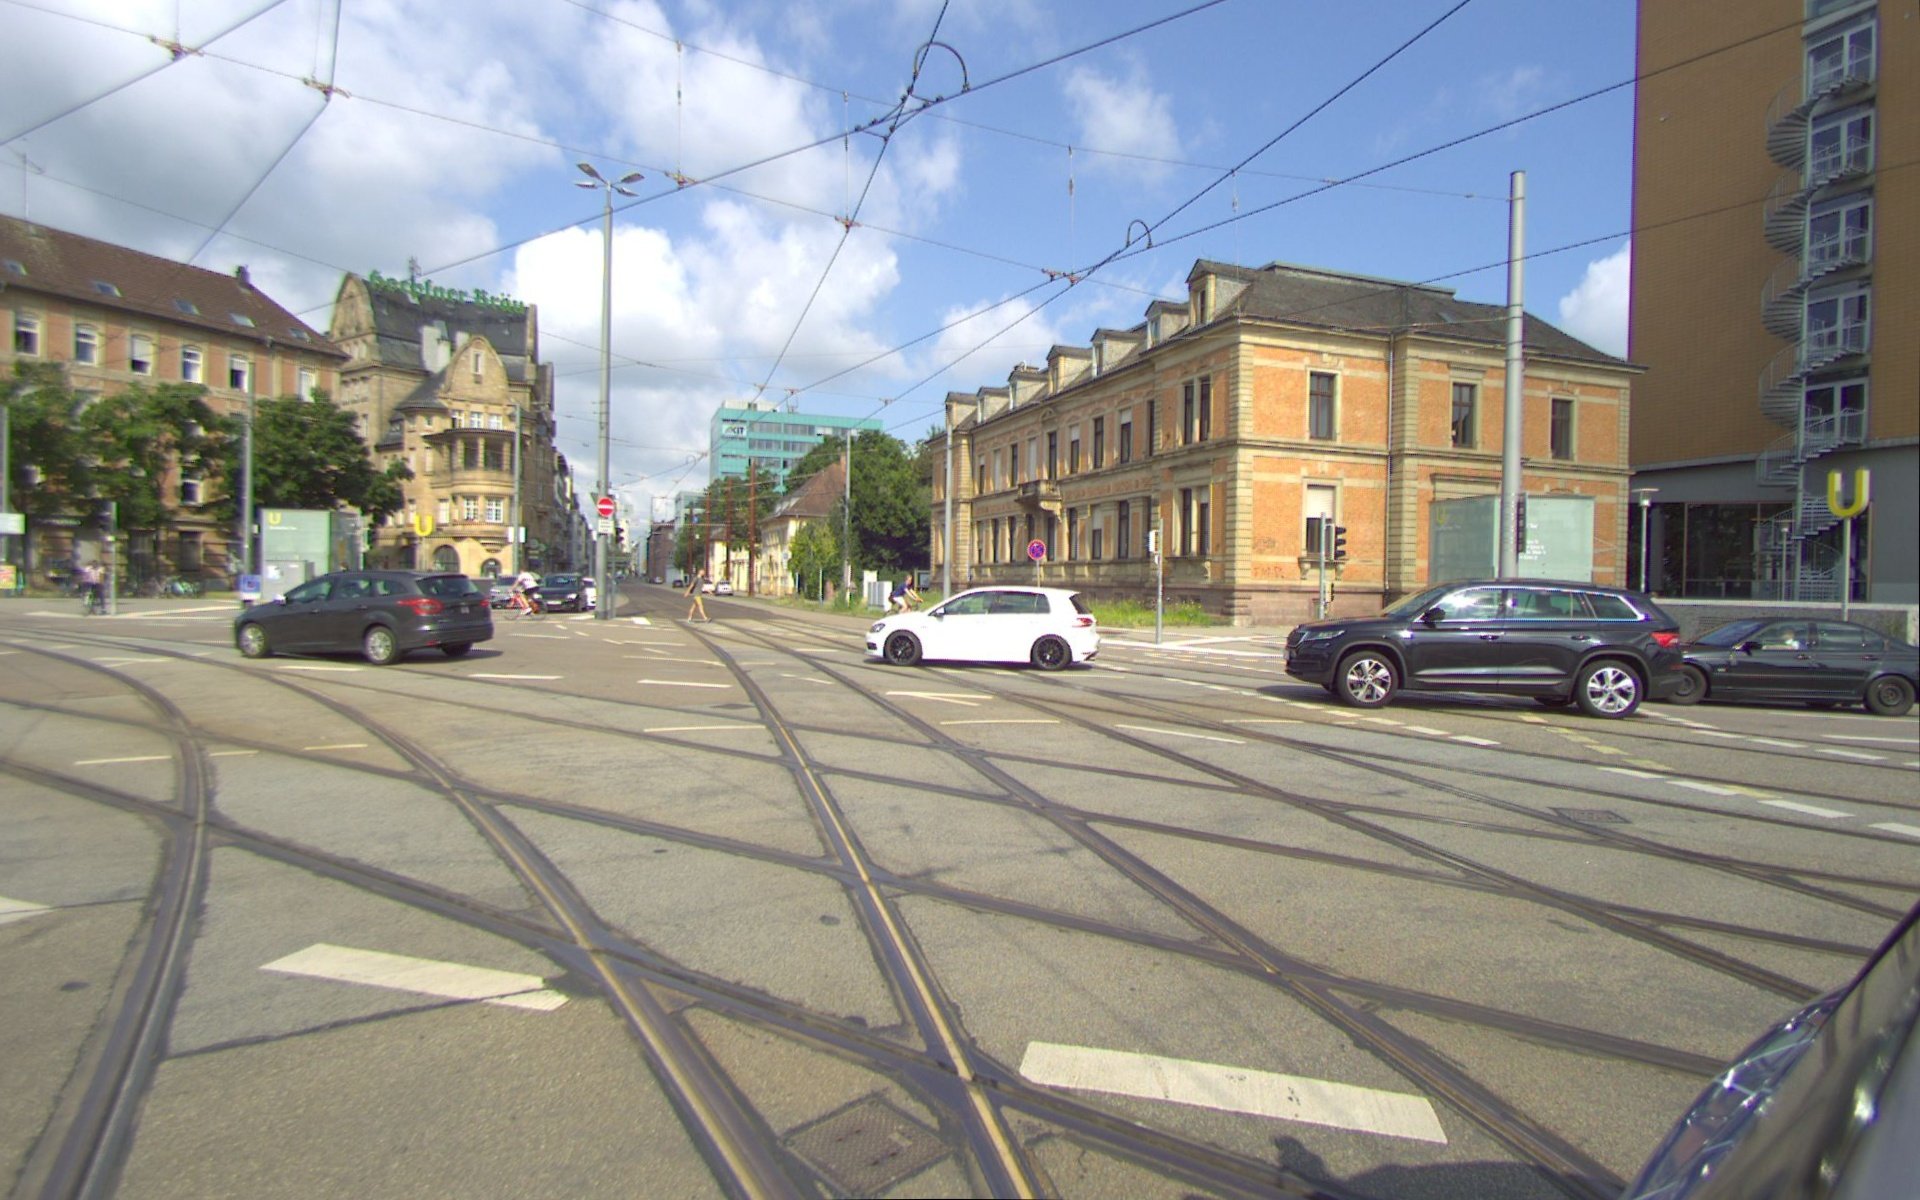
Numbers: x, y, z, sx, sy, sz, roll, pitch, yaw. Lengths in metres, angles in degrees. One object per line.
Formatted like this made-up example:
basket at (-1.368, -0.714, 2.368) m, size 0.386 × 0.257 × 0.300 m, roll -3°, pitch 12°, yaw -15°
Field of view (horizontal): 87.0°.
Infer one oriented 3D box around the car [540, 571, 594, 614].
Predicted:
car at (-18.232, -0.405, 47.073) m, size 1.958 × 1.614 × 4.699 m, roll -1°, pitch 5°, yaw -17°

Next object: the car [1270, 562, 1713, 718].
car at (6.548, 0.439, 13.051) m, size 4.609 × 1.689 × 1.994 m, roll 2°, pitch 0°, yaw 11°

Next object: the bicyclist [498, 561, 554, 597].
bicyclist at (-13.389, -0.641, 31.240) m, size 1.195 × 1.040 × 0.991 m, roll -2°, pitch 1°, yaw 9°

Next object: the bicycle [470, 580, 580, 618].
bicycle at (-13.423, -0.027, 31.258) m, size 3.058 × 1.040 × 0.993 m, roll -2°, pitch 1°, yaw 10°

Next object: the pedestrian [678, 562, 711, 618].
pedestrian at (-8.844, -0.330, 33.695) m, size 0.870 × 1.832 × 0.868 m, roll 0°, pitch 2°, yaw -2°

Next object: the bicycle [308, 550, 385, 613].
bicycle at (-17.881, -0.567, 29.490) m, size 2.453 × 1.746 × 0.996 m, roll 1°, pitch 3°, yaw 35°

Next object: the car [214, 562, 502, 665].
car at (-10.002, 0.156, 16.886) m, size 4.196 × 1.547 × 1.764 m, roll 1°, pitch 2°, yaw 16°

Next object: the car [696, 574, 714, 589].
car at (-31.719, -2.285, 125.782) m, size 1.875 × 1.791 × 4.009 m, roll 1°, pitch 1°, yaw -19°

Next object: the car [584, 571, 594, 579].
car at (-76.235, -5.222, 208.207) m, size 1.812 × 1.557 × 3.831 m, roll 1°, pitch 1°, yaw -19°

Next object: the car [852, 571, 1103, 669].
car at (0.366, 0.304, 17.787) m, size 4.165 × 1.464 × 1.679 m, roll 2°, pitch 1°, yaw 11°

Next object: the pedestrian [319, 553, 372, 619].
pedestrian at (-17.905, -0.433, 29.496) m, size 0.989 × 1.864 × 0.984 m, roll 1°, pitch 2°, yaw 33°

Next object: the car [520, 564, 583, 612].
car at (-16.363, -0.531, 40.733) m, size 1.958 × 1.760 × 4.352 m, roll -1°, pitch 2°, yaw -17°

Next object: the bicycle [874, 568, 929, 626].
bicycle at (-1.829, -0.099, 31.727) m, size 1.609 × 1.799 × 0.731 m, roll 0°, pitch 2°, yaw 7°

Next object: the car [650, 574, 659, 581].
car at (-74.061, -5.492, 245.290) m, size 1.875 × 1.625 × 4.009 m, roll 1°, pitch 1°, yaw -19°

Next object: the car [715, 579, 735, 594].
car at (-25.180, -1.433, 108.435) m, size 1.719 × 1.549 × 4.009 m, roll 1°, pitch 1°, yaw -17°

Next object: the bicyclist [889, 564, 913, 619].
bicyclist at (-1.848, -0.279, 31.711) m, size 0.645 × 1.691 × 0.573 m, roll 0°, pitch 2°, yaw 7°

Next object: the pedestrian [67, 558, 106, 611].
pedestrian at (-27.405, -0.487, 31.758) m, size 0.694 × 1.662 × 0.798 m, roll 1°, pitch 1°, yaw -20°

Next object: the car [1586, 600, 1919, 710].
car at (12.378, 0.785, 15.350) m, size 4.439 × 1.415 × 1.993 m, roll 2°, pitch 1°, yaw 12°

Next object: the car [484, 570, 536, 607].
car at (-21.619, -0.591, 48.733) m, size 1.718 × 1.620 × 4.010 m, roll -1°, pitch 3°, yaw -16°

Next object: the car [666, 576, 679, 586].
car at (-50.510, -3.328, 177.931) m, size 1.875 × 1.625 × 4.009 m, roll 1°, pitch 1°, yaw -19°
